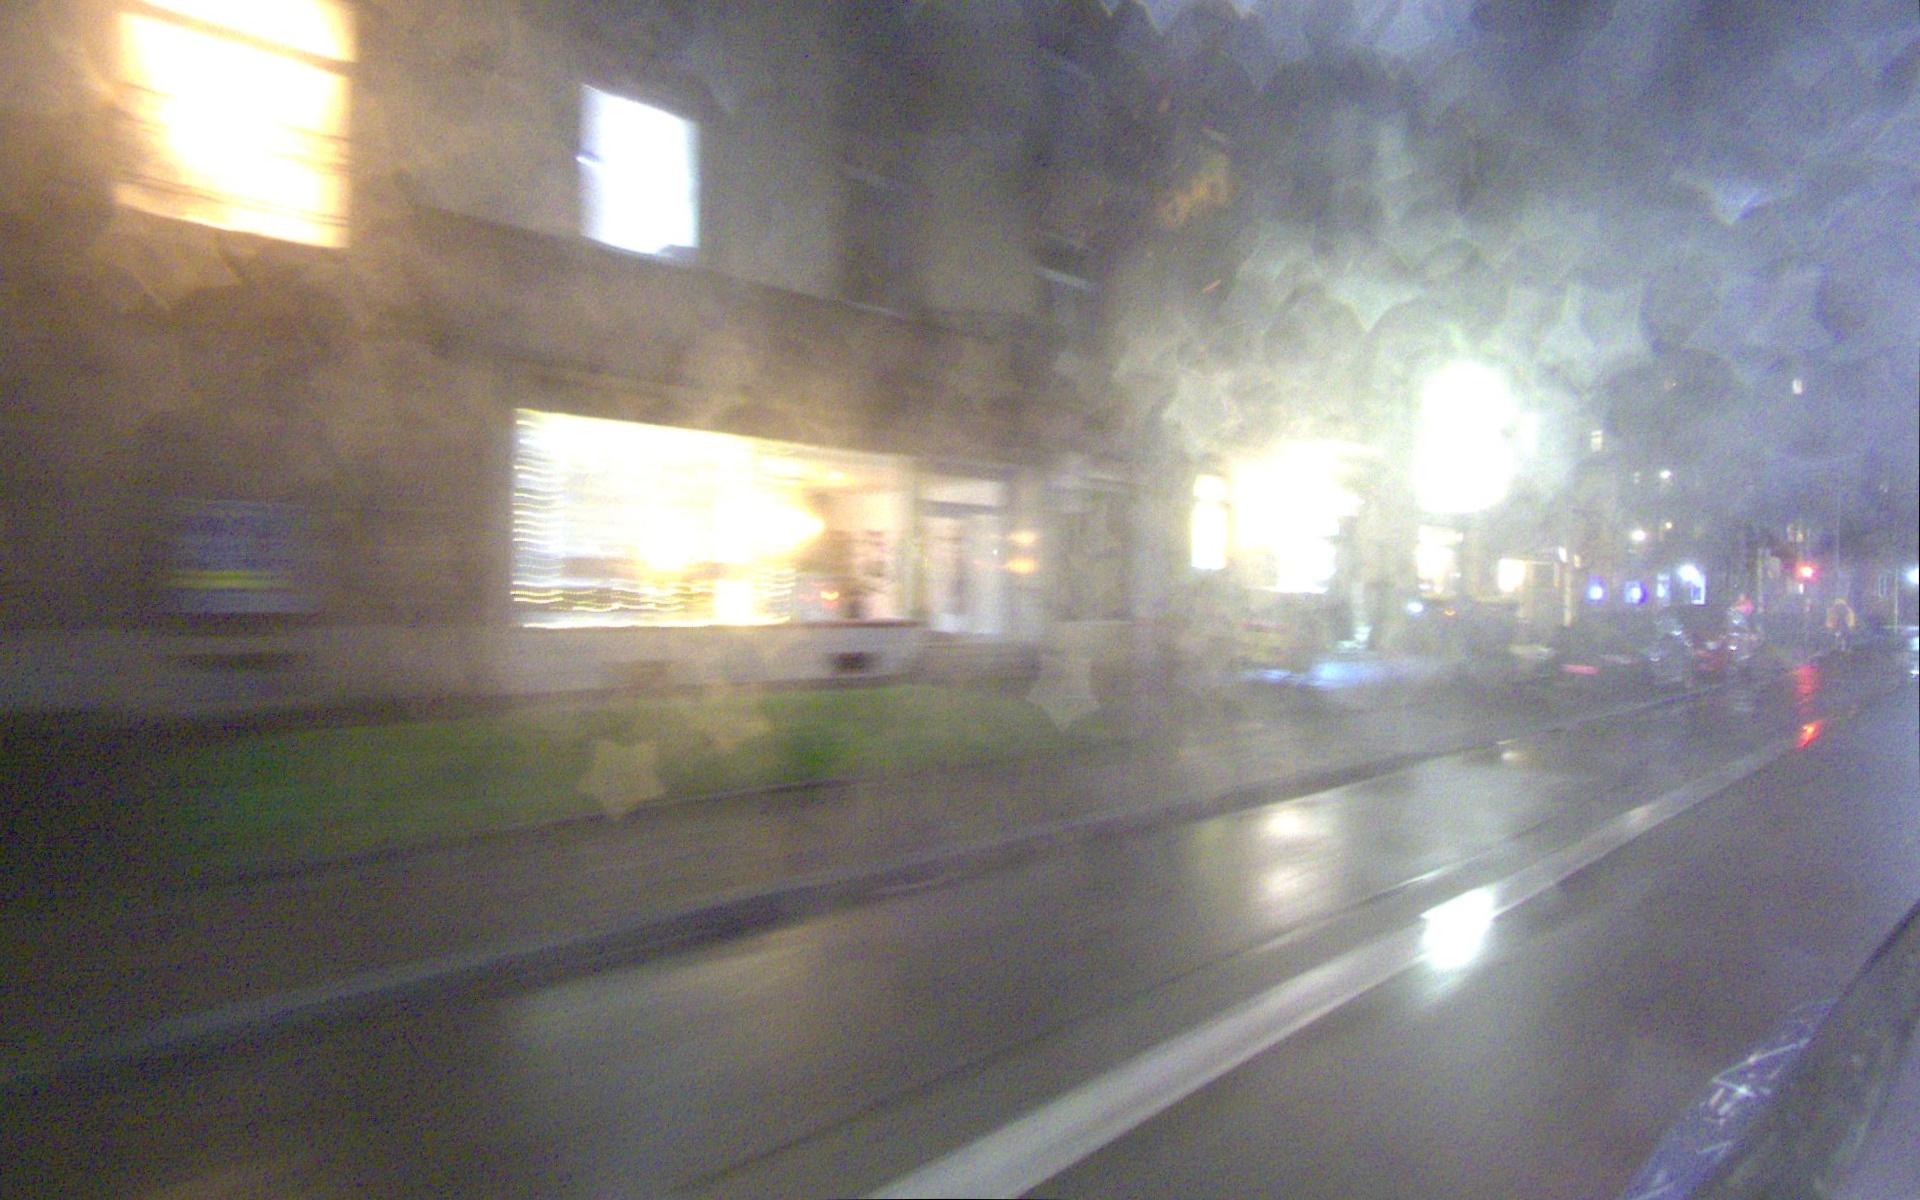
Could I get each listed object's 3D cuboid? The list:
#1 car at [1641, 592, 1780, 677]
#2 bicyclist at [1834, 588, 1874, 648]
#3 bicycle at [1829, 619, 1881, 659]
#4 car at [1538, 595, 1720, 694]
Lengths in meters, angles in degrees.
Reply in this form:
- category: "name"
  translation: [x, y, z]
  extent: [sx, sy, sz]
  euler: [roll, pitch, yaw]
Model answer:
- category: "car"
  translation: [15.977, 0.655, 21.495]
  extent: [3.519, 1.543, 1.651]
  euler: [0, 4, -42]
- category: "bicyclist"
  translation: [23.702, 0.469, 26.845]
  extent: [0.567, 1.567, 0.808]
  euler: [-2, -1, 27]
- category: "bicycle"
  translation: [23.711, 1.026, 26.837]
  extent: [0.567, 0.981, 1.764]
  euler: [-2, -1, 27]
- category: "car"
  translation: [12.051, 0.710, 18.140]
  extent: [3.985, 1.459, 1.649]
  euler: [0, 4, -41]
